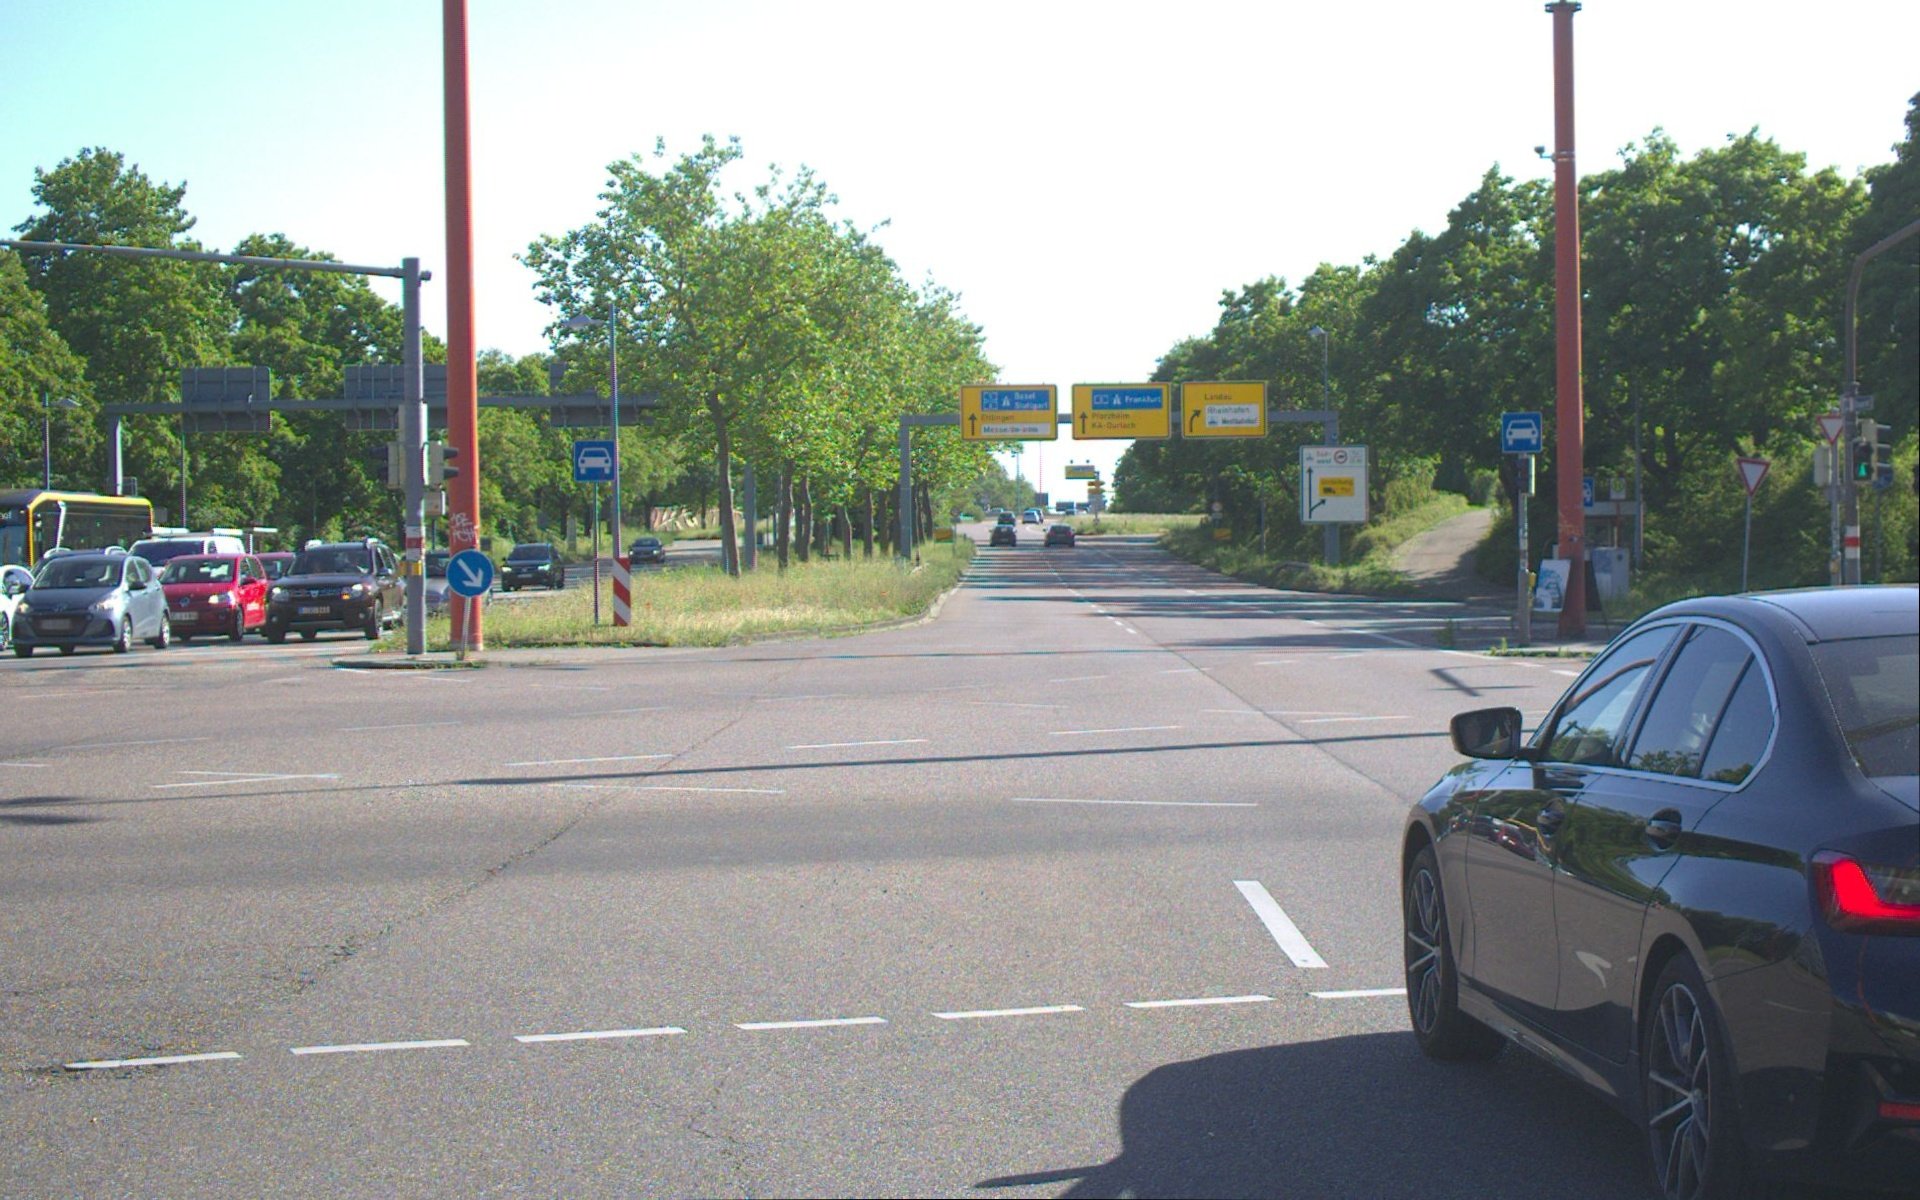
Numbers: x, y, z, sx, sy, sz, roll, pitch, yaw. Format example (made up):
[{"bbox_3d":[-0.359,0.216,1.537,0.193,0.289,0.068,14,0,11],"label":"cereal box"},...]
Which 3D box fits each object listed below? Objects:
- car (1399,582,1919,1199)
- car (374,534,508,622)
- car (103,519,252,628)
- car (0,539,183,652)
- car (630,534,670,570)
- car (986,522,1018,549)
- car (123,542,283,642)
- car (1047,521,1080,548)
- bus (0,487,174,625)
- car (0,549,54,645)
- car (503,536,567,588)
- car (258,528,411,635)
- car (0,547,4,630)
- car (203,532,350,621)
[{"bbox_3d":[2.352,0.697,8.627,1.763,1.436,4.295,1,1,-2],"label":"car"},{"bbox_3d":[-9.630,-0.429,64.008,1.885,1.538,4.000,-2,1,-1],"label":"car"},{"bbox_3d":[-16.064,-0.570,70.832,1.961,2.147,5.082,-1,1,-1],"label":"car"},{"bbox_3d":[-13.215,-0.101,52.293,1.874,1.545,4.028,-2,1,-1],"label":"car"},{"bbox_3d":[-17.557,-2.706,194.826,1.920,1.992,4.604,-1,1,-1],"label":"car"},{"bbox_3d":[2.751,-4.230,226.237,1.993,1.727,4.000,1,1,-1],"label":"car"},{"bbox_3d":[-12.864,-0.160,58.632,1.875,1.547,4.000,-4,1,-2],"label":"car"},{"bbox_3d":[6.851,-4.334,227.726,1.993,1.727,4.000,1,1,-1],"label":"car"},{"bbox_3d":[-22.790,-1.114,87.279,2.646,3.250,12.536,1,1,1],"label":"bus"},{"bbox_3d":[-16.529,-0.052,57.285,1.901,1.549,4.000,-2,1,-2],"label":"car"},{"bbox_3d":[-15.276,-1.385,123.768,1.837,1.831,3.961,-1,1,-1],"label":"car"},{"bbox_3d":[-10.210,-0.329,56.369,1.793,1.620,4.144,-2,1,-1],"label":"car"},{"bbox_3d":[-19.988,-0.199,66.808,1.778,1.646,3.974,-3,0,-2],"label":"car"},{"bbox_3d":[-12.802,-0.456,64.628,1.901,1.624,4.000,0,1,1],"label":"car"}]
